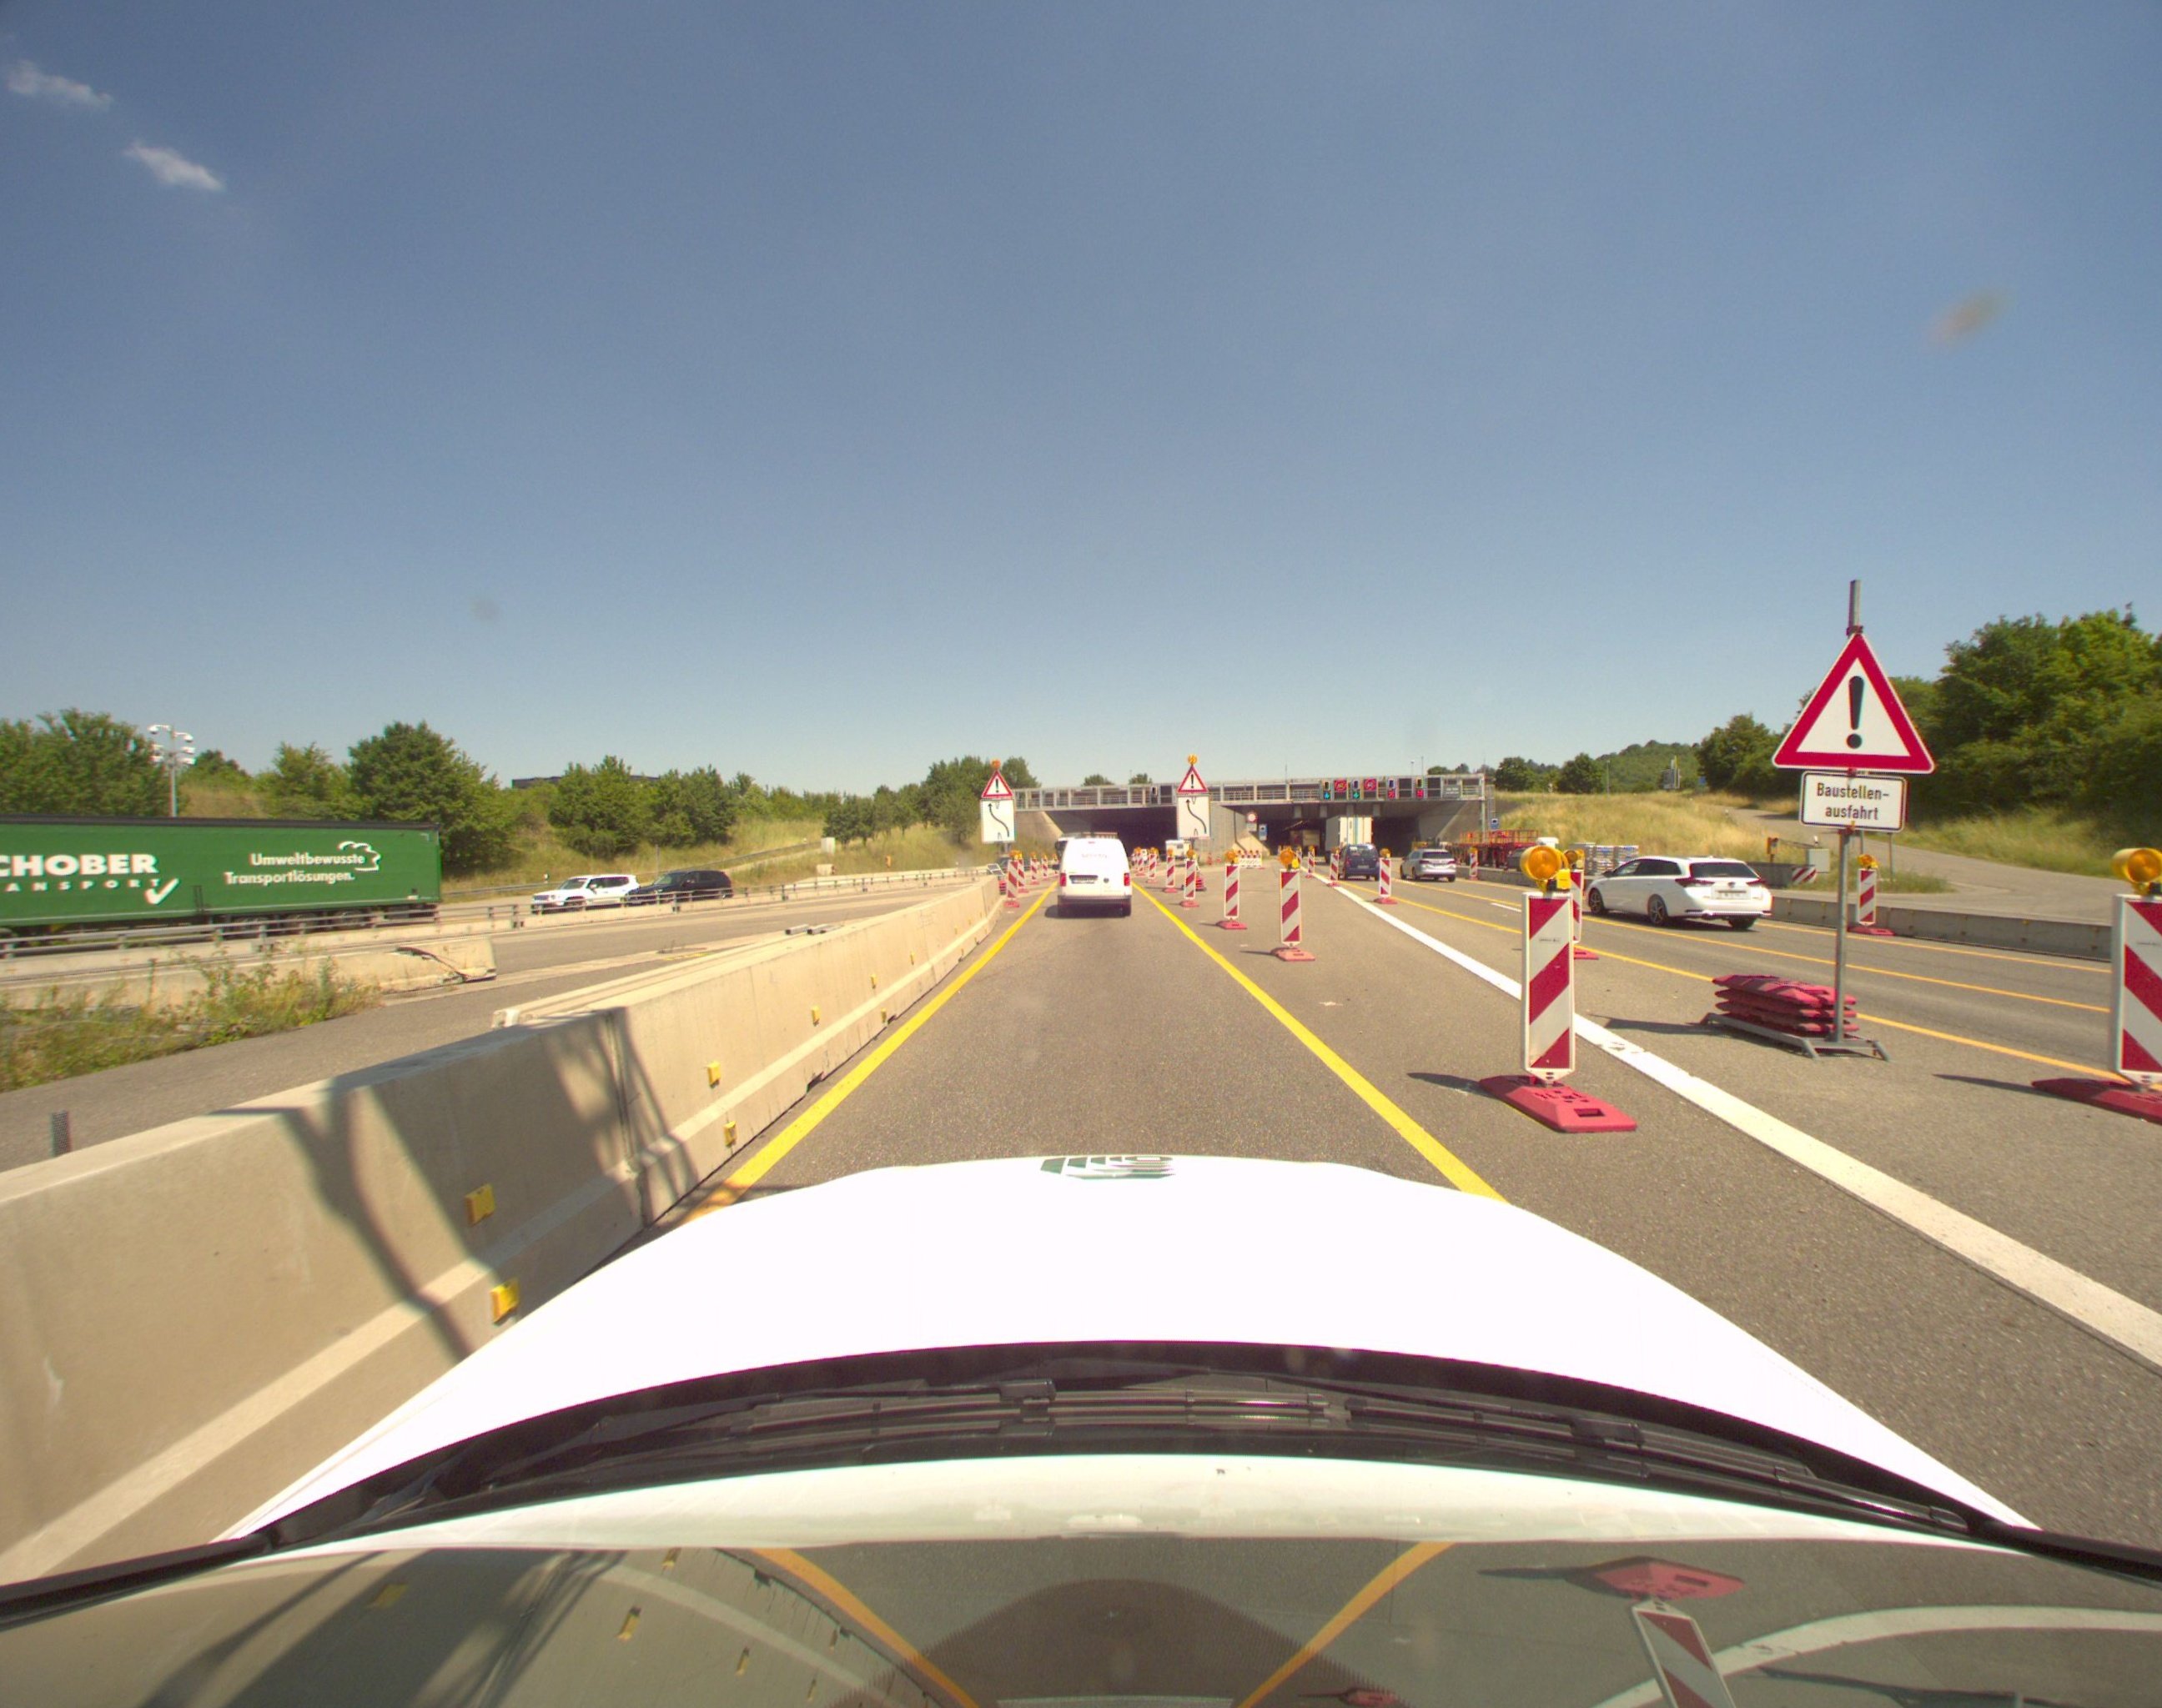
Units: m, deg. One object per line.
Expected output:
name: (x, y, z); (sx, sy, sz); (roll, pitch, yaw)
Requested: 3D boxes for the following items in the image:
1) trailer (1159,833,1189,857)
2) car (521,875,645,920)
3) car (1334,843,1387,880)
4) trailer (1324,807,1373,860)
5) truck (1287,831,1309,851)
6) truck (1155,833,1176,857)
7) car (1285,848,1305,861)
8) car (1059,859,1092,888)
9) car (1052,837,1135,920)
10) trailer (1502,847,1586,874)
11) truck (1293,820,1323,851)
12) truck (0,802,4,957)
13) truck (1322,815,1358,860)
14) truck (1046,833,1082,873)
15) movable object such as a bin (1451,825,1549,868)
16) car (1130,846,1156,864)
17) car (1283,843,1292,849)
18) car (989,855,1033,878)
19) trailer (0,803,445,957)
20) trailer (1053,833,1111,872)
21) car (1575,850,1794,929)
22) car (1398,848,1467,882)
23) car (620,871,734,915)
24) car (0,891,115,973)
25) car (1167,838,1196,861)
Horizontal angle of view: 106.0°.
trailer: (16.967, -1.627, 147.658); (2.318, 4.102, 13.328); (-2, 0, 20)
car: (-20.519, 1.754, 33.736); (1.701, 1.623, 4.191); (-1, 0, 20)
car: (13.047, 0.342, 38.259); (1.803, 1.642, 4.667); (1, 0, 12)
trailer: (22.669, -1.529, 69.651); (2.713, 4.062, 14.145); (0, 0, 13)
truck: (45.733, -2.666, 172.259); (3.380, 4.071, 16.585); (1, 0, 11)
truck: (14.726, -1.558, 141.558); (2.315, 4.108, 5.042); (-2, 0, 20)
car: (26.678, 0.045, 101.607); (1.805, 1.630, 4.199); (1, 0, 8)
car: (-0.351, 1.126, 48.482); (1.804, 1.537, 4.406); (-2, 0, -2)
car: (0.329, 0.547, 20.032); (1.802, 1.794, 3.732); (-2, 0, 2)
trailer: (30.184, 0.389, 53.392); (2.581, 1.569, 6.248); (-2, 0, 7)
truck: (37.059, -2.889, 133.530); (3.380, 4.335, 16.584); (1, -1, 11)
truck: (-32.664, 0.708, 20.618); (3.514, 4.270, 5.811); (0, 0, 23)
truck: (24.272, -1.499, 76.495); (2.726, 4.033, 5.947); (0, 0, 13)
truck: (-1.883, -0.129, 91.773); (2.411, 4.270, 4.862); (-2, 0, 19)
movable object such as a bin: (34.273, -0.565, 67.513); (3.091, 3.011, 14.744); (-2, 0, 11)
car: (6.356, 0.063, 83.169); (1.795, 1.751, 4.427); (-2, 0, 14)
car: (61.452, -2.448, 242.735); (2.317, 1.838, 4.557); (0, 0, 11)
car: (-5.442, 0.957, 64.001); (1.683, 1.730, 4.474); (-1, 0, 20)
trailer: (-29.928, 0.727, 26.928); (3.514, 4.270, 13.985); (0, 0, 23)
trailer: (0.376, -0.174, 98.197); (2.415, 4.296, 13.877); (-2, 0, 19)
car: (12.918, 0.735, 17.869); (1.805, 1.465, 4.661); (1, -1, 7)
car: (16.173, 0.499, 37.712); (1.804, 1.464, 4.663); (1, 0, 8)
car: (-16.714, 1.568, 33.930); (1.701, 1.623, 4.191); (-1, 0, 20)
car: (-23.645, 1.684, 16.957); (1.701, 1.623, 4.191); (-1, 0, 20)
car: (12.593, -0.467, 101.525); (2.794, 2.773, 7.127); (0, -1, 14)
